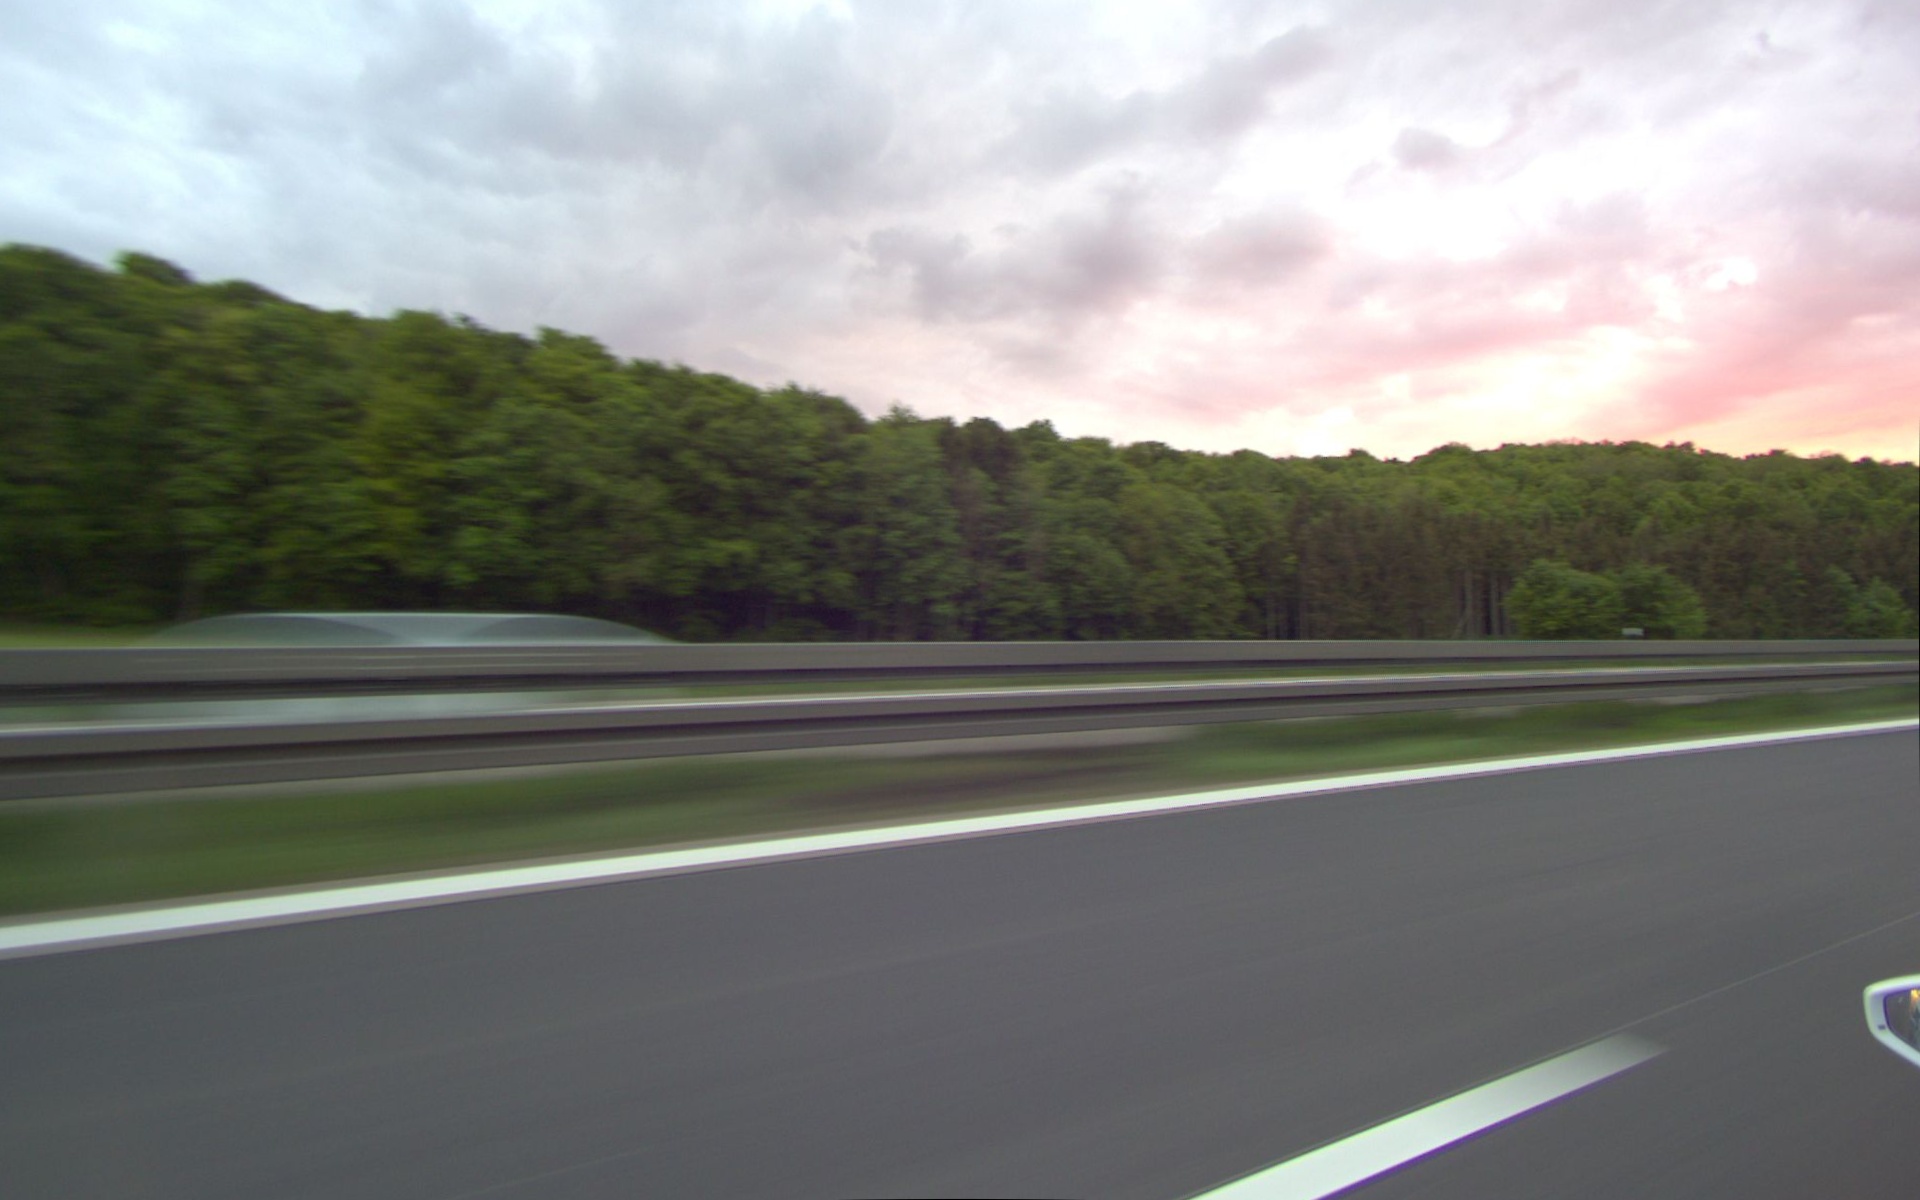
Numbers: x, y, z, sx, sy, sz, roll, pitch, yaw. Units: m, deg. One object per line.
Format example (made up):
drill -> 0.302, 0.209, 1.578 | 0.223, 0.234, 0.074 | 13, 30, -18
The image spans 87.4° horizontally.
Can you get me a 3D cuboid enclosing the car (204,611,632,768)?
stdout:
car -> -6.586, 1.005, 12.577 | 4.429, 1.661, 1.743 | 1, -2, -33
